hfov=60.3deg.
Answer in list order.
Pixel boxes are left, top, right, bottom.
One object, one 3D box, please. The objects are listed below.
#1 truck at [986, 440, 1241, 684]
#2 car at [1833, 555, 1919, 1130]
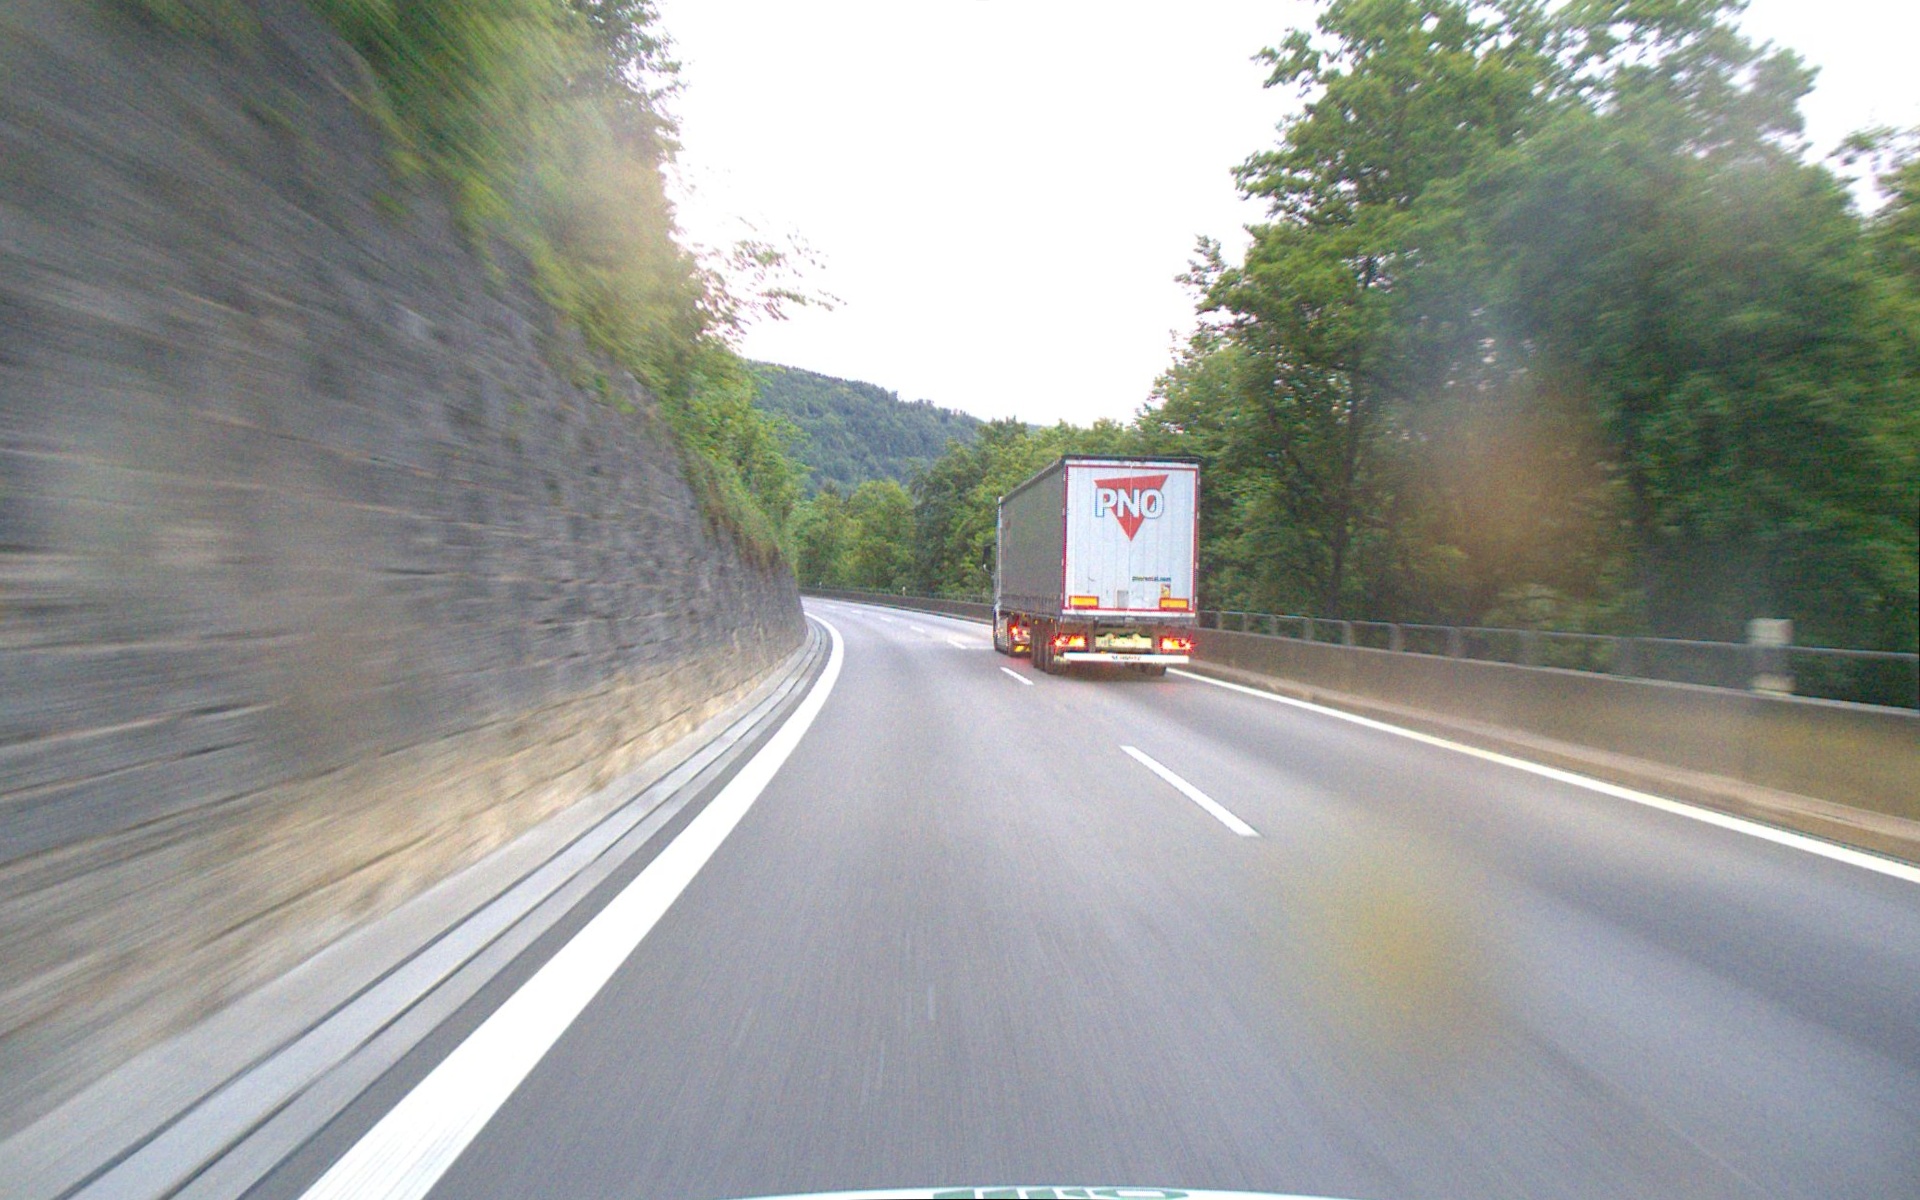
[{"bbox_3d":[2.875,-0.695,37.696,3.229,4.246,16.491,2,0,-3],"label":"truck"},{"bbox_3d":[3.735,0.726,2.773,1.953,1.642,4.864,2,0,0],"label":"car"}]
